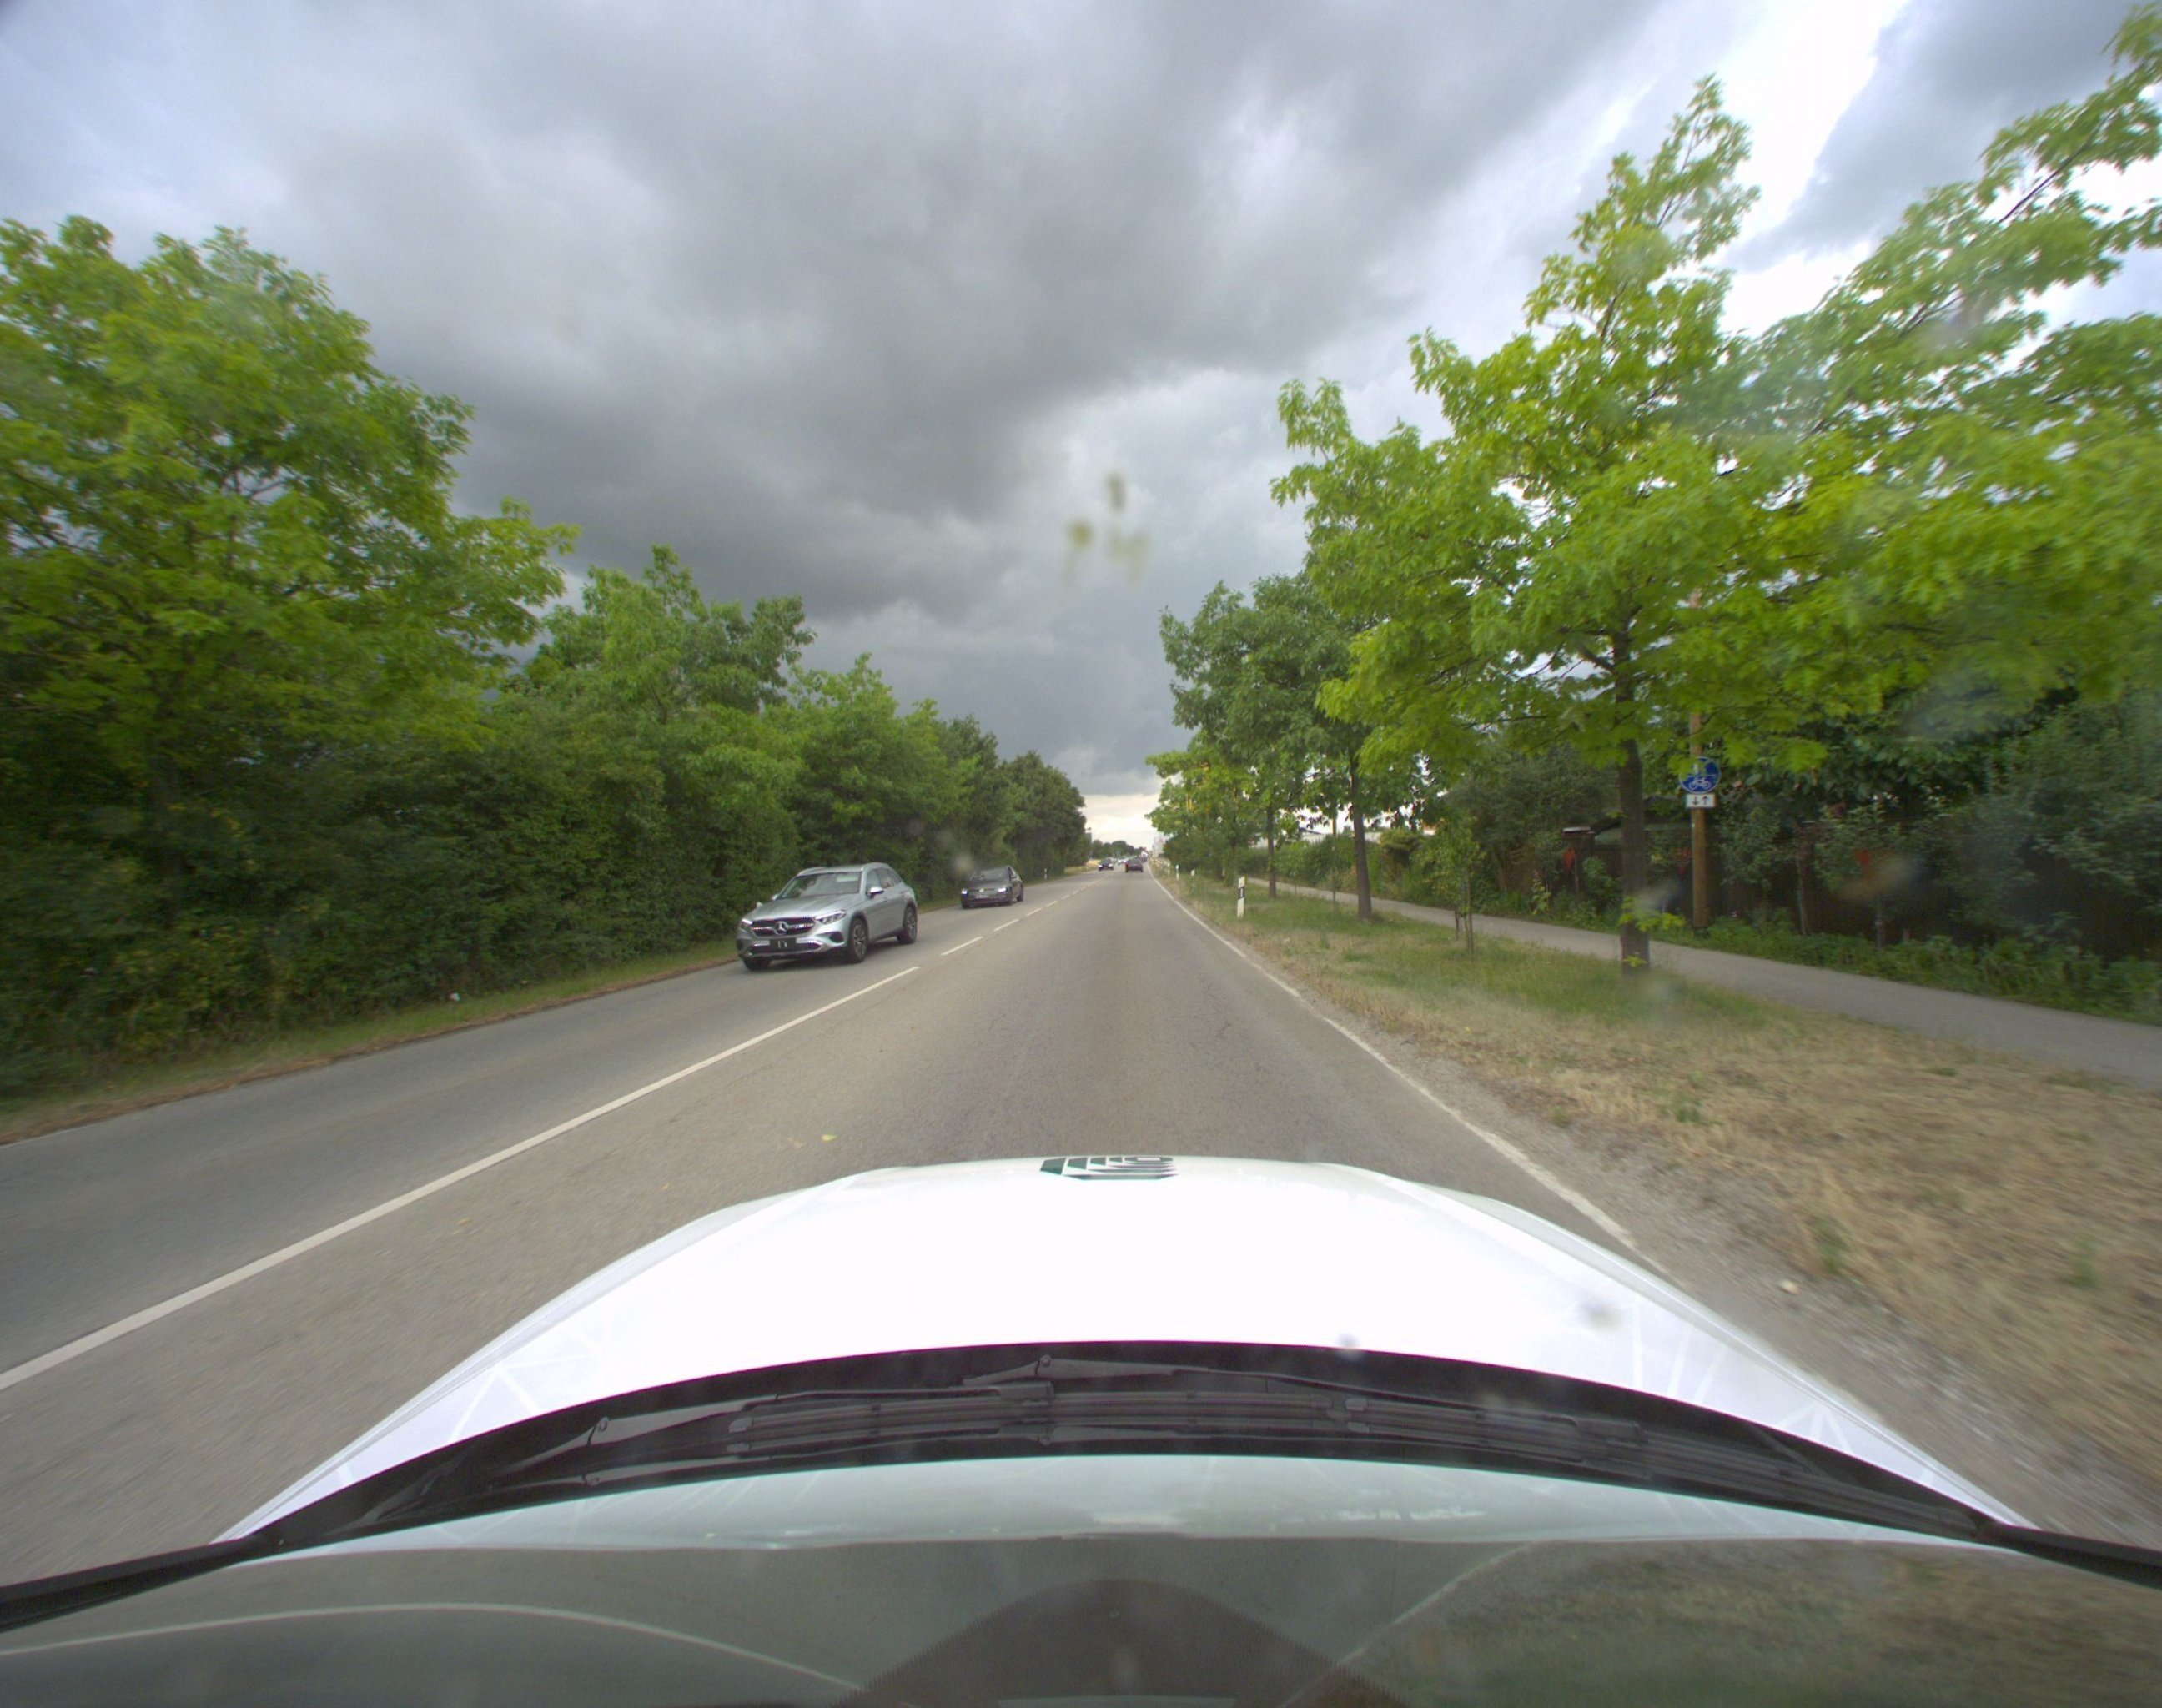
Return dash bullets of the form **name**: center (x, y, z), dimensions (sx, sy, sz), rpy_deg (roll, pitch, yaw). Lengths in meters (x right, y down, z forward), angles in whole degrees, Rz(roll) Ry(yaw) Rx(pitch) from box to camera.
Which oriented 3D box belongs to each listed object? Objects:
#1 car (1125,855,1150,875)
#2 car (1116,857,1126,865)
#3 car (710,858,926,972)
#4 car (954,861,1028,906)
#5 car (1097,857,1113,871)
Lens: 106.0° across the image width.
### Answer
- **car**: center (5.746, 1.107, 83.852), dimensions (2.363, 1.880, 4.480), rpy_deg (-4, -1, 2)
- **car**: center (8.982, 1.614, 182.728), dimensions (1.984, 1.684, 4.815), rpy_deg (-2, 0, 4)
- **car**: center (-4.427, 0.954, 14.646), dimensions (1.984, 1.601, 4.670), rpy_deg (-4, -1, 4)
- **car**: center (-3.240, 1.038, 30.120), dimensions (1.986, 1.419, 4.480), rpy_deg (-4, -1, 2)
- **car**: center (3.101, 1.284, 105.714), dimensions (1.933, 1.586, 4.558), rpy_deg (-4, -1, 2)
